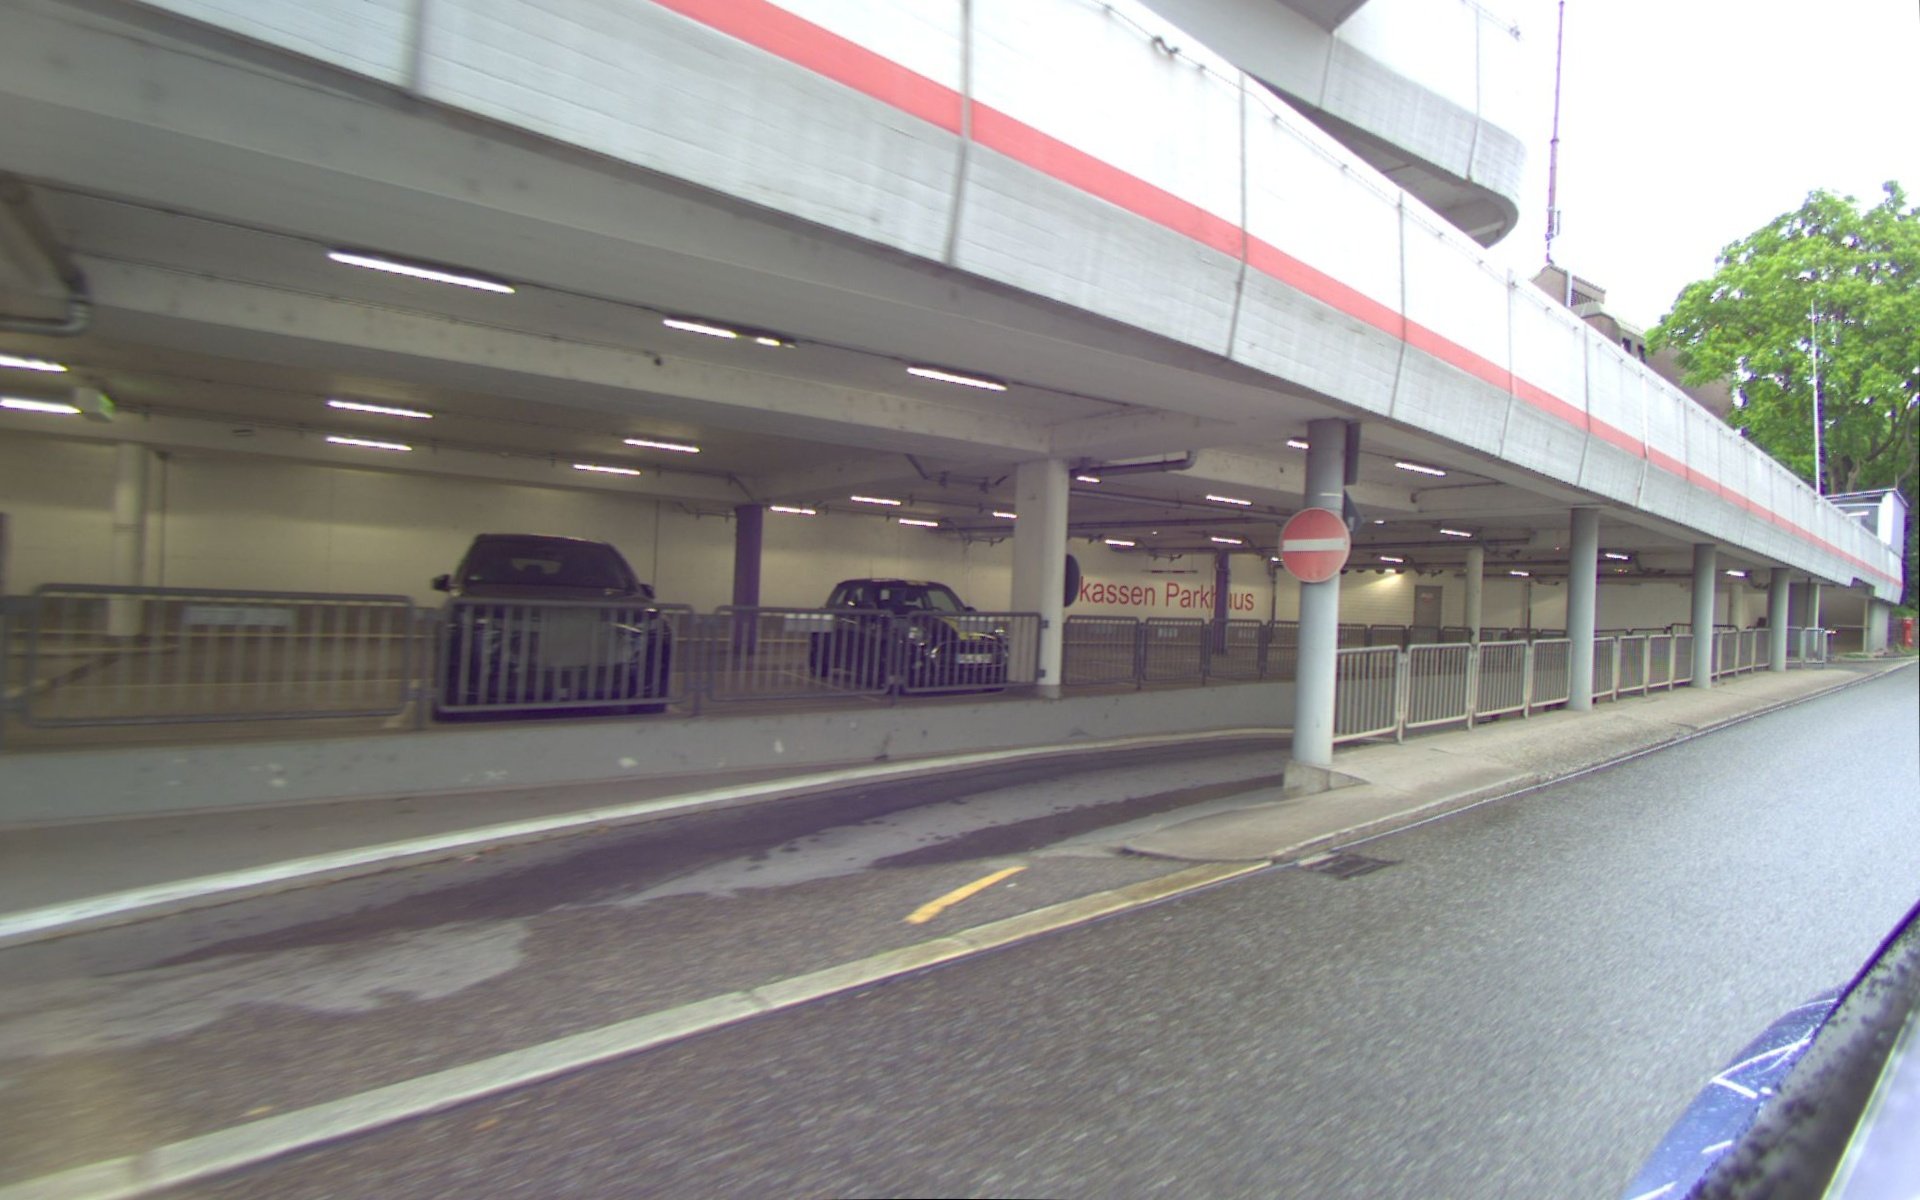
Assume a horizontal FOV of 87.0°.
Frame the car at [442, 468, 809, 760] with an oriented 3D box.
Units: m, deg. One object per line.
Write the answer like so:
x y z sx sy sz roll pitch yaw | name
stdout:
-2.970 0.078 8.174 1.786 1.661 4.593 -1 0 -32 | car

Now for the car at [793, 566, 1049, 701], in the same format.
-0.669 0.367 13.702 1.771 1.524 3.738 3 1 -32 | car
